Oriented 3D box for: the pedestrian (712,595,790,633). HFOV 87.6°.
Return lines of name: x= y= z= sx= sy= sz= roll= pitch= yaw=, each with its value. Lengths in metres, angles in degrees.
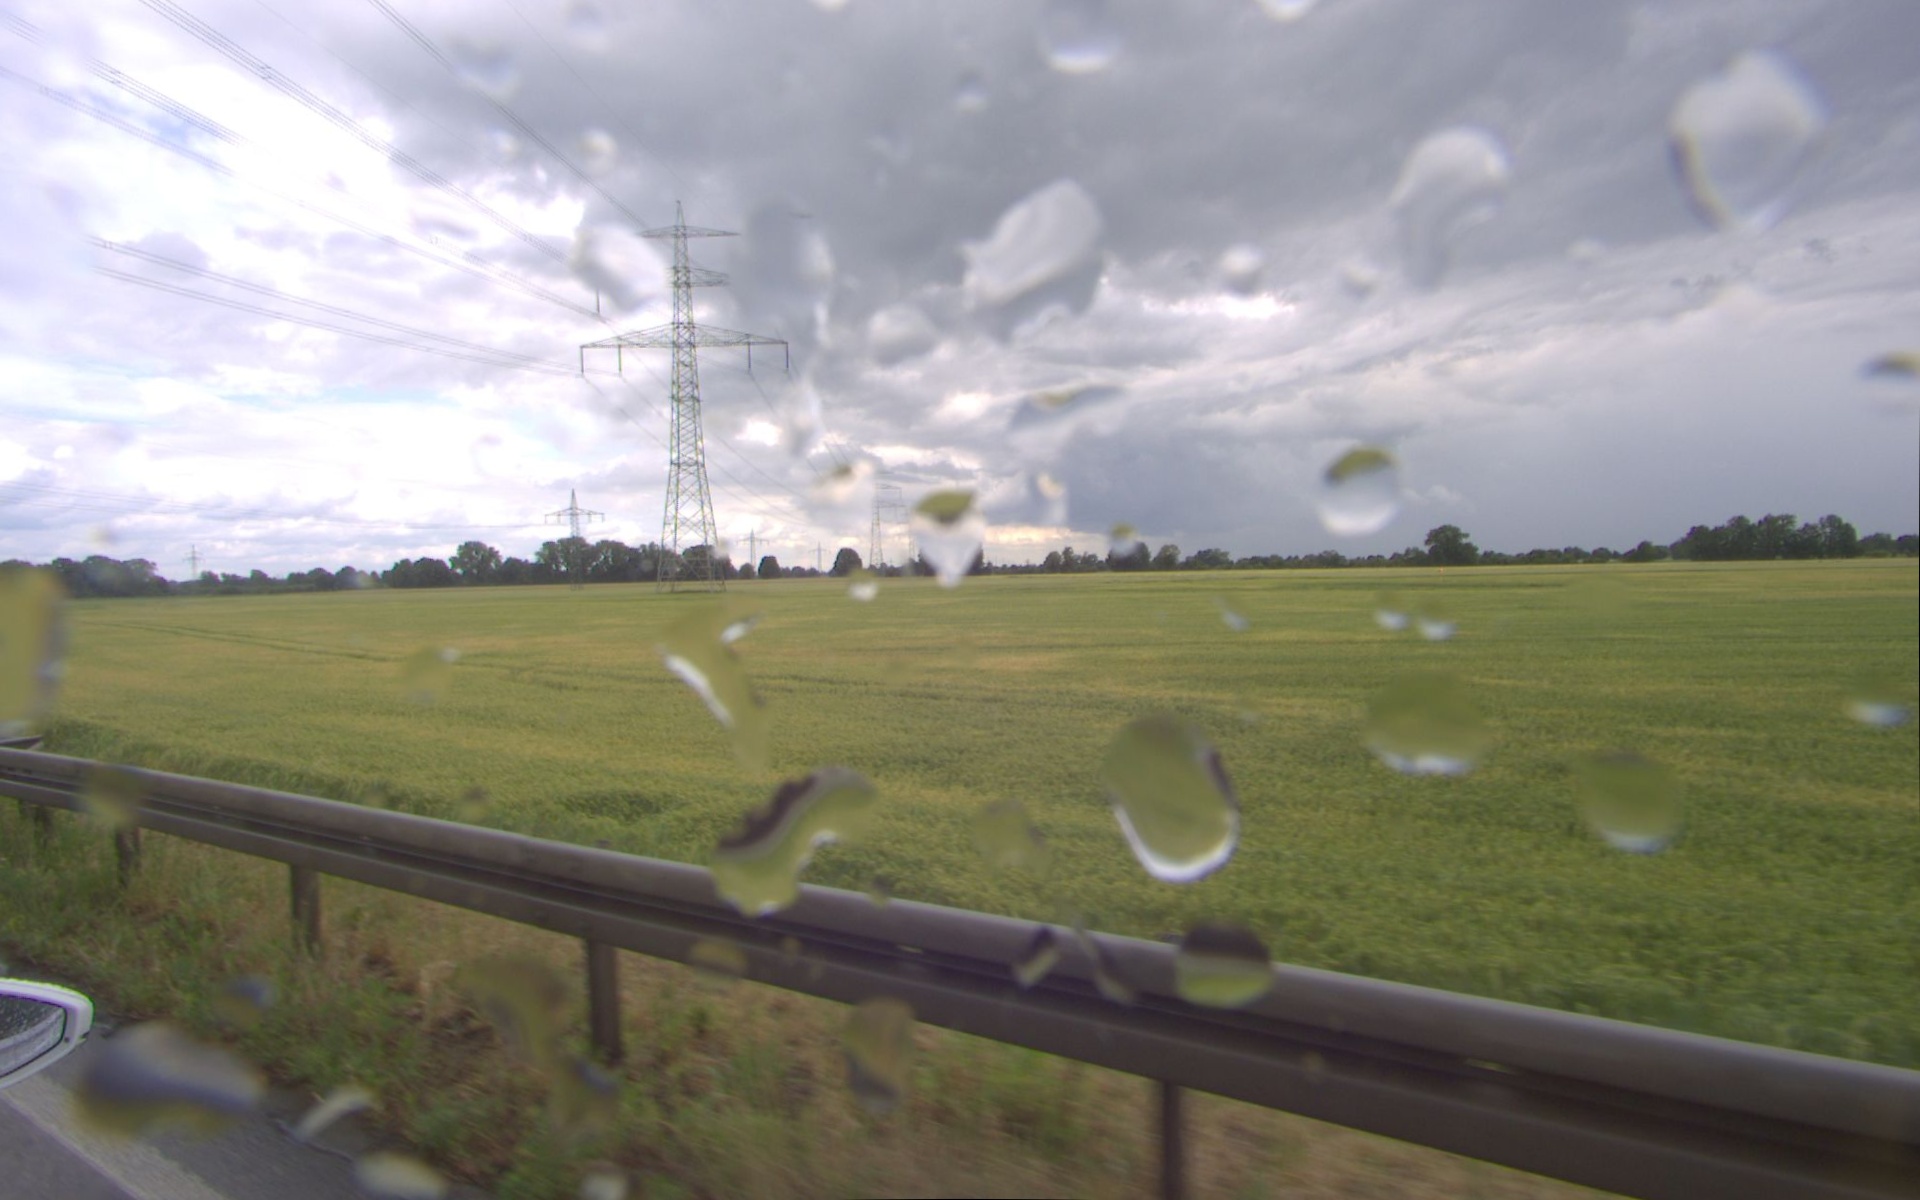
pedestrian: x=-11.588 y=0.795 z=55.575 sx=3.940 sy=2.039 sz=1.992 roll=-1 pitch=-2 yaw=30
